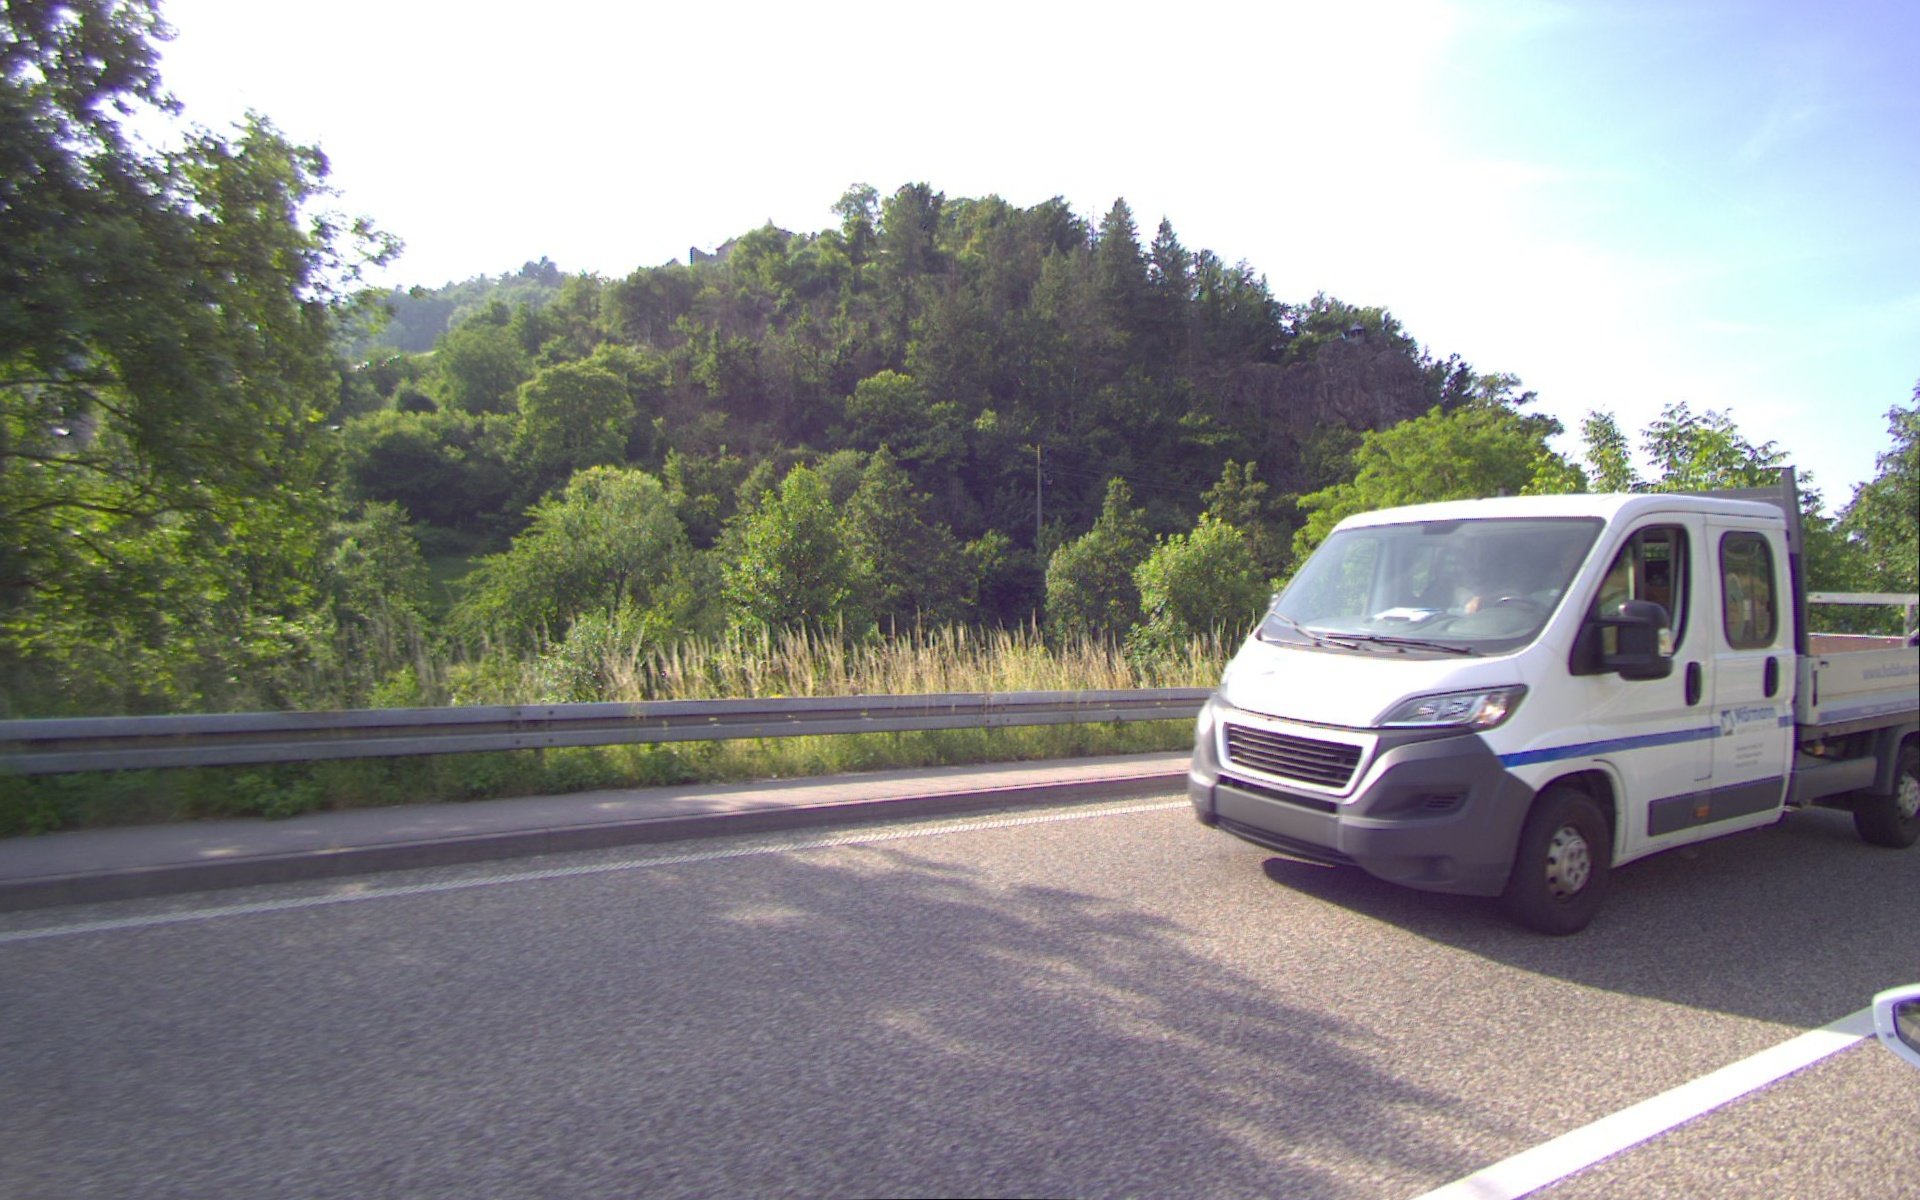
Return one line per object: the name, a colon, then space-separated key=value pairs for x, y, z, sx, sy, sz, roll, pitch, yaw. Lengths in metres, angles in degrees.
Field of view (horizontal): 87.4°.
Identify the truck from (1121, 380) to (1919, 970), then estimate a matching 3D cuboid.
truck: x=4.395 y=0.364 z=6.659 sx=6.664 sy=2.397 sz=2.147 roll=1 pitch=0 yaw=-29
